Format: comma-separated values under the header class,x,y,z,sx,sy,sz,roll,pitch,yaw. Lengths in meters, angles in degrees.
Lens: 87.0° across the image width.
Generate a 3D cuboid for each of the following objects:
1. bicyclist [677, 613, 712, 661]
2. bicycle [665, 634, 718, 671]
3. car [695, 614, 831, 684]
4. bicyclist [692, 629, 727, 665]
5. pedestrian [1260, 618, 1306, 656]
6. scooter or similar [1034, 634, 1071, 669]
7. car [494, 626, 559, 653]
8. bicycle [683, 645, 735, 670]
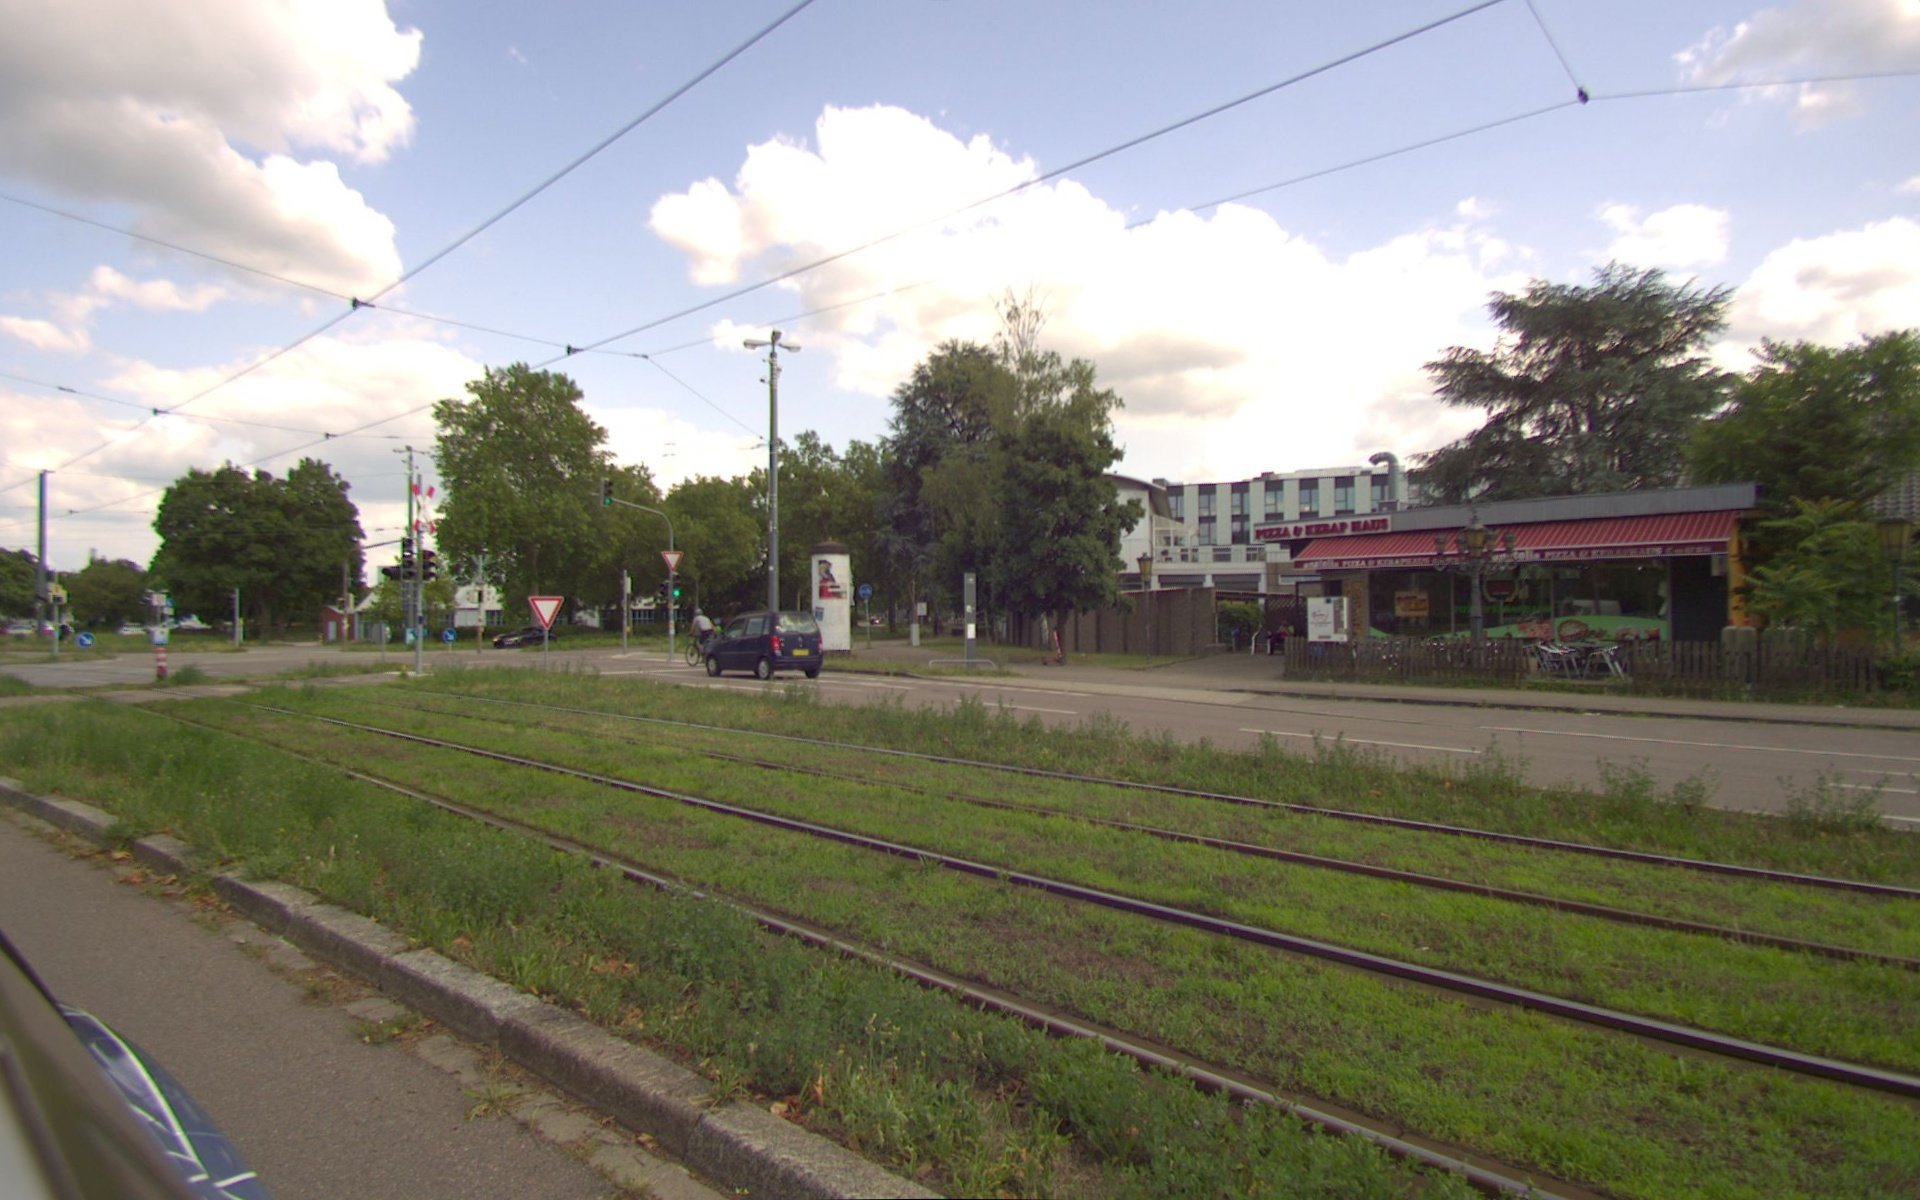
class,x,y,z,sx,sy,sz,roll,pitch,yaw
bicyclist,-8.195,1.141,31.260,0.927,1.468,0.617,-1,-2,39
bicycle,-8.322,1.616,31.352,1.803,1.088,0.639,-1,-2,39
car,-5.014,1.163,25.538,1.758,1.639,3.498,1,-1,-45
bicyclist,-7.894,1.464,31.860,0.927,1.121,0.633,-1,-2,39
pedestrian,10.092,1.152,31.612,1.139,1.155,0.933,1,-2,-44
scooter or similar,2.837,1.571,31.106,0.420,1.041,1.226,0,-2,-35
car,-25.837,2.337,60.438,1.682,1.535,3.841,0,-1,13
bicycle,-7.927,1.809,31.889,1.803,0.723,0.639,-1,-2,39
